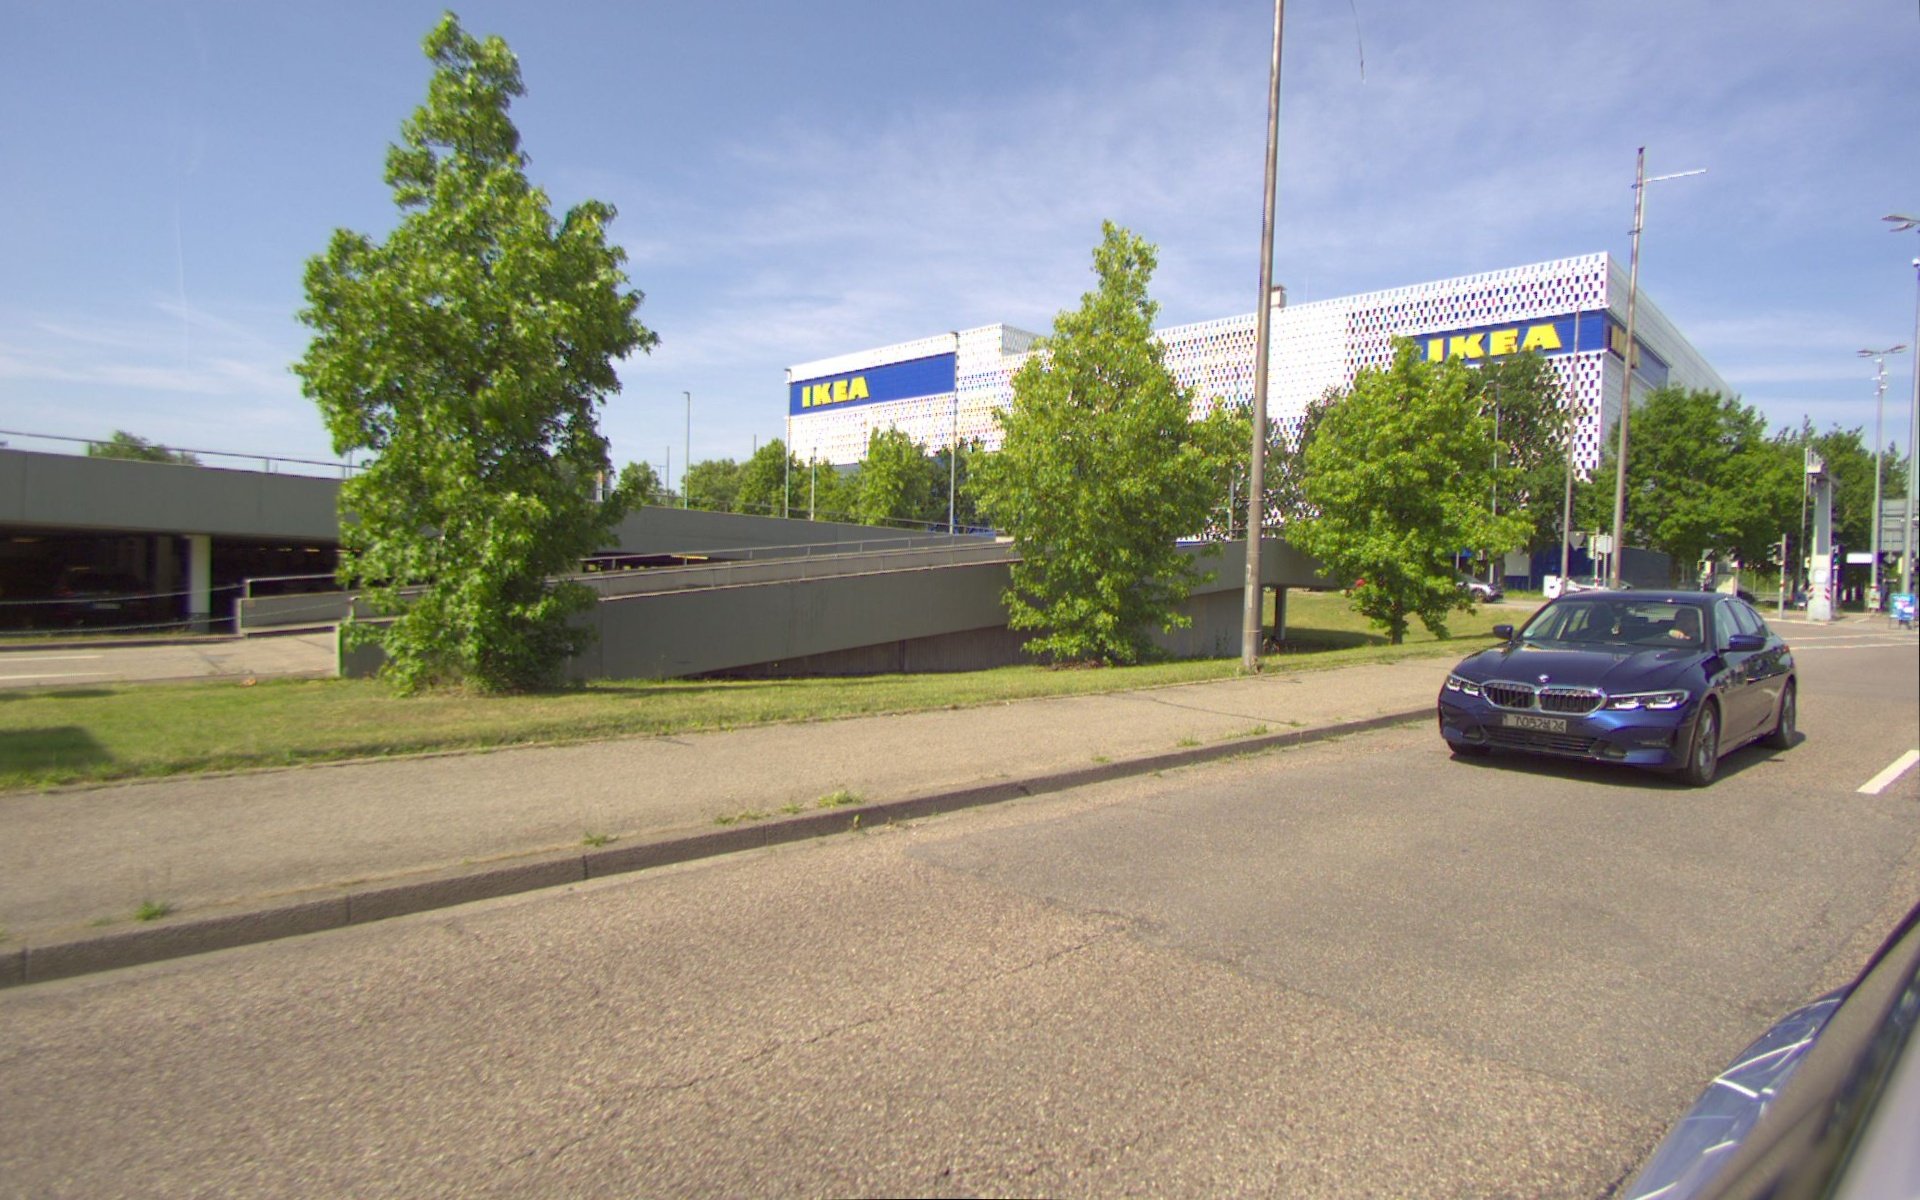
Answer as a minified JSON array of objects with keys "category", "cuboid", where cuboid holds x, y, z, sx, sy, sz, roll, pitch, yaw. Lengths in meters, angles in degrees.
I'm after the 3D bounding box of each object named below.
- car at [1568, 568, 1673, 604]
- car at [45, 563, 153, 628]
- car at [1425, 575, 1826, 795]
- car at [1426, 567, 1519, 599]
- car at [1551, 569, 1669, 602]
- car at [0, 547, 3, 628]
[{"category":"car","cuboid":[31.753,-0.694,48.739,1.777,1.577,3.892,0,2,-41]},{"category":"car","cuboid":[-20.123,-0.131,23.606,1.661,1.404,3.874,0,1,-45]},{"category":"car","cuboid":[5.989,0.514,8.871,4.459,1.446,1.799,-1,2,-41]},{"category":"car","cuboid":[27.399,-0.951,54.165,1.876,1.526,4.035,-1,4,-42]},{"category":"car","cuboid":[33.122,-0.779,51.685,1.925,1.443,4.725,-2,4,-42]},{"category":"car","cuboid":[-21.443,-0.280,21.388,1.723,1.647,4.154,0,1,-44]}]
